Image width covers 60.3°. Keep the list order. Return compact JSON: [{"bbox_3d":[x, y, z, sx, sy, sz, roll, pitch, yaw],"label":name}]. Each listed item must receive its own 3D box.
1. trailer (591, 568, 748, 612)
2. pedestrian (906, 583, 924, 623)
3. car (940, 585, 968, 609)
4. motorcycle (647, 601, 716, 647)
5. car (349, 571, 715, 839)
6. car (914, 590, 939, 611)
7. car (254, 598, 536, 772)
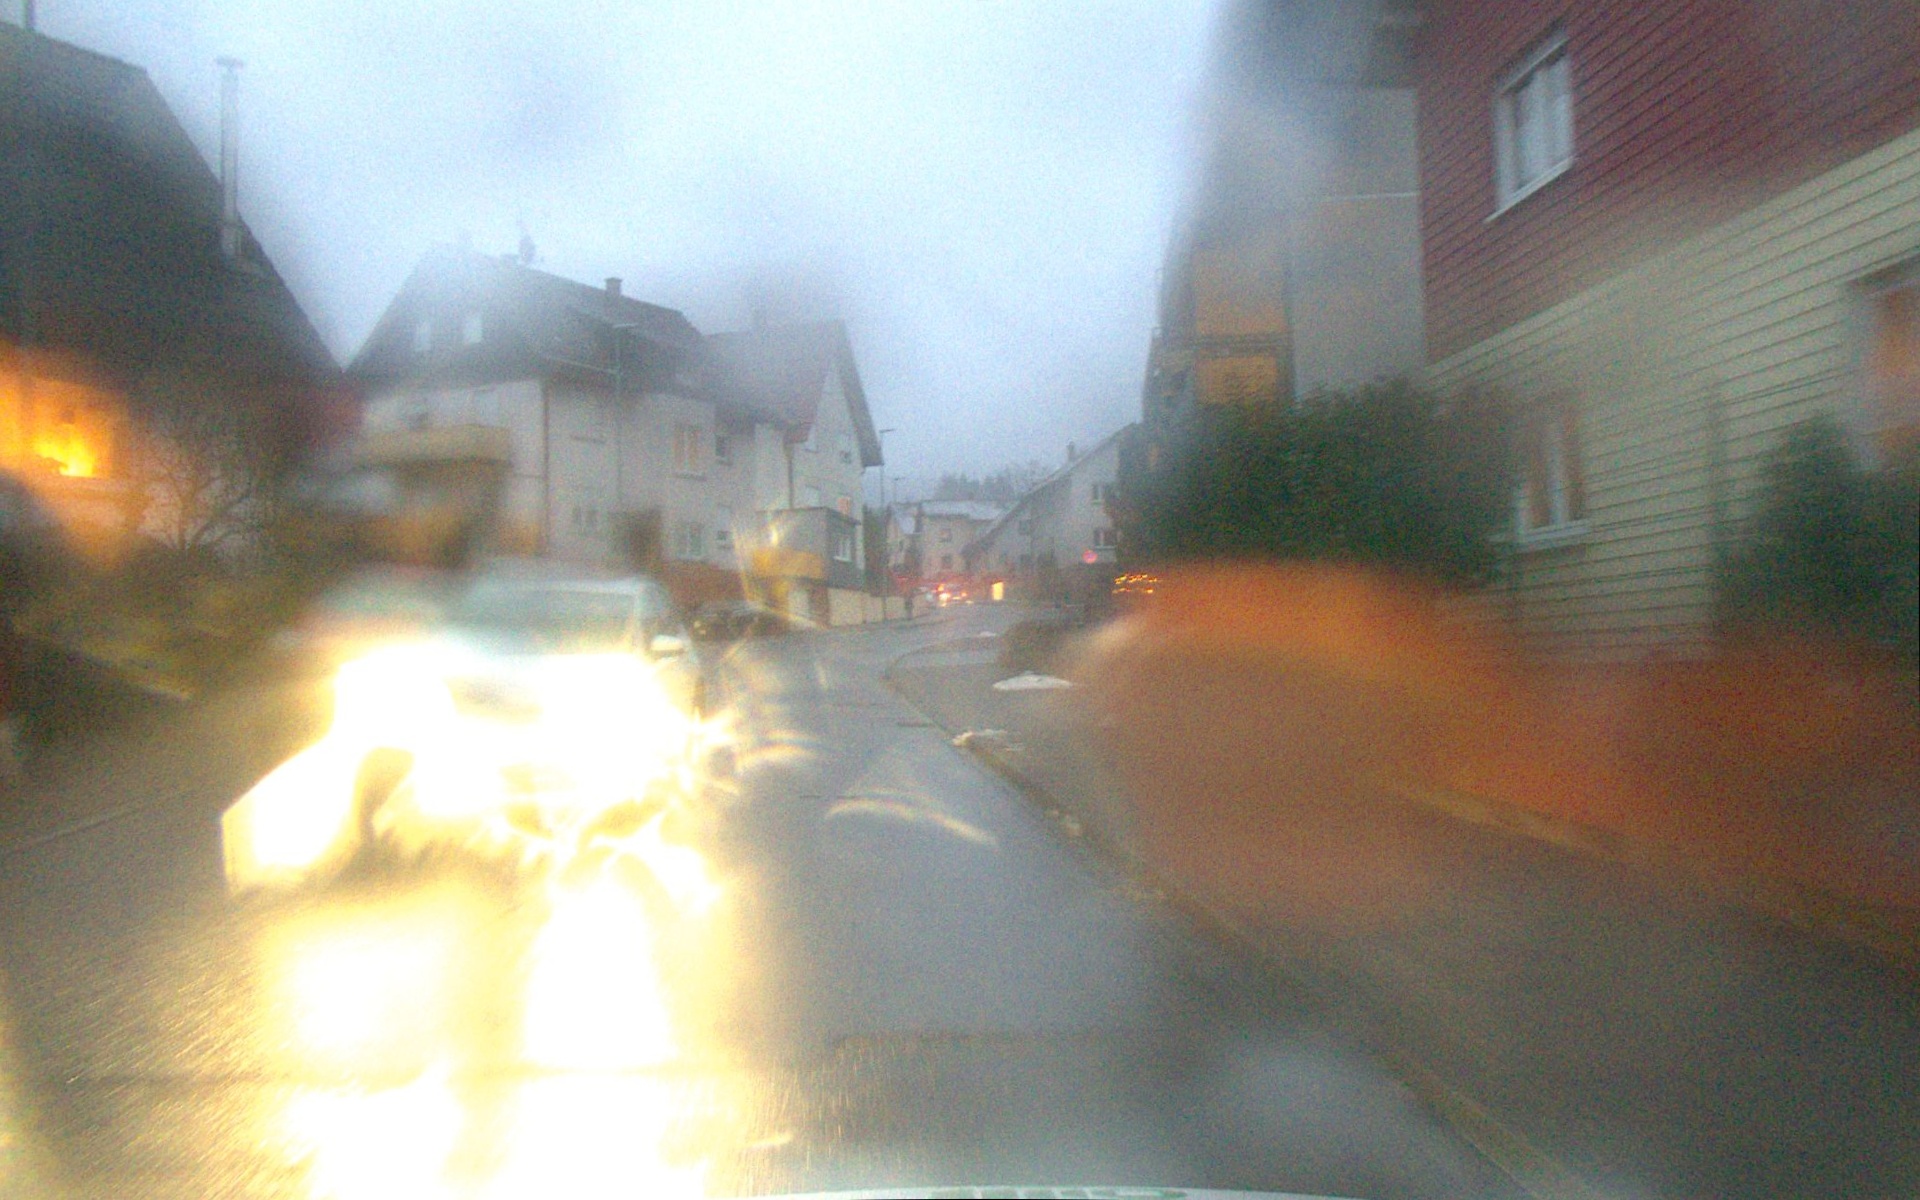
[{"bbox_3d":[-9.090,-0.326,52.124,2.024,1.189,4.851,5,3,35],"label":"trailer"},{"bbox_3d":[-1.956,0.139,72.056,0.585,1.763,0.813,0,-1,13],"label":"pedestrian"},{"bbox_3d":[-0.462,-0.203,124.573,1.953,1.646,3.998,1,-1,-2],"label":"car"},{"bbox_3d":[-8.303,0.691,49.271,1.048,1.321,2.204,0,0,-42],"label":"motorcycle"},{"bbox_3d":[-2.877,0.661,11.988,1.722,1.608,3.998,0,-1,-2],"label":"car"},{"bbox_3d":[-2.830,0.052,139.988,1.954,1.646,3.997,1,-1,-3],"label":"car"},{"bbox_3d":[-5.347,0.715,16.188,1.788,1.466,4.061,0,0,-7],"label":"car"}]
